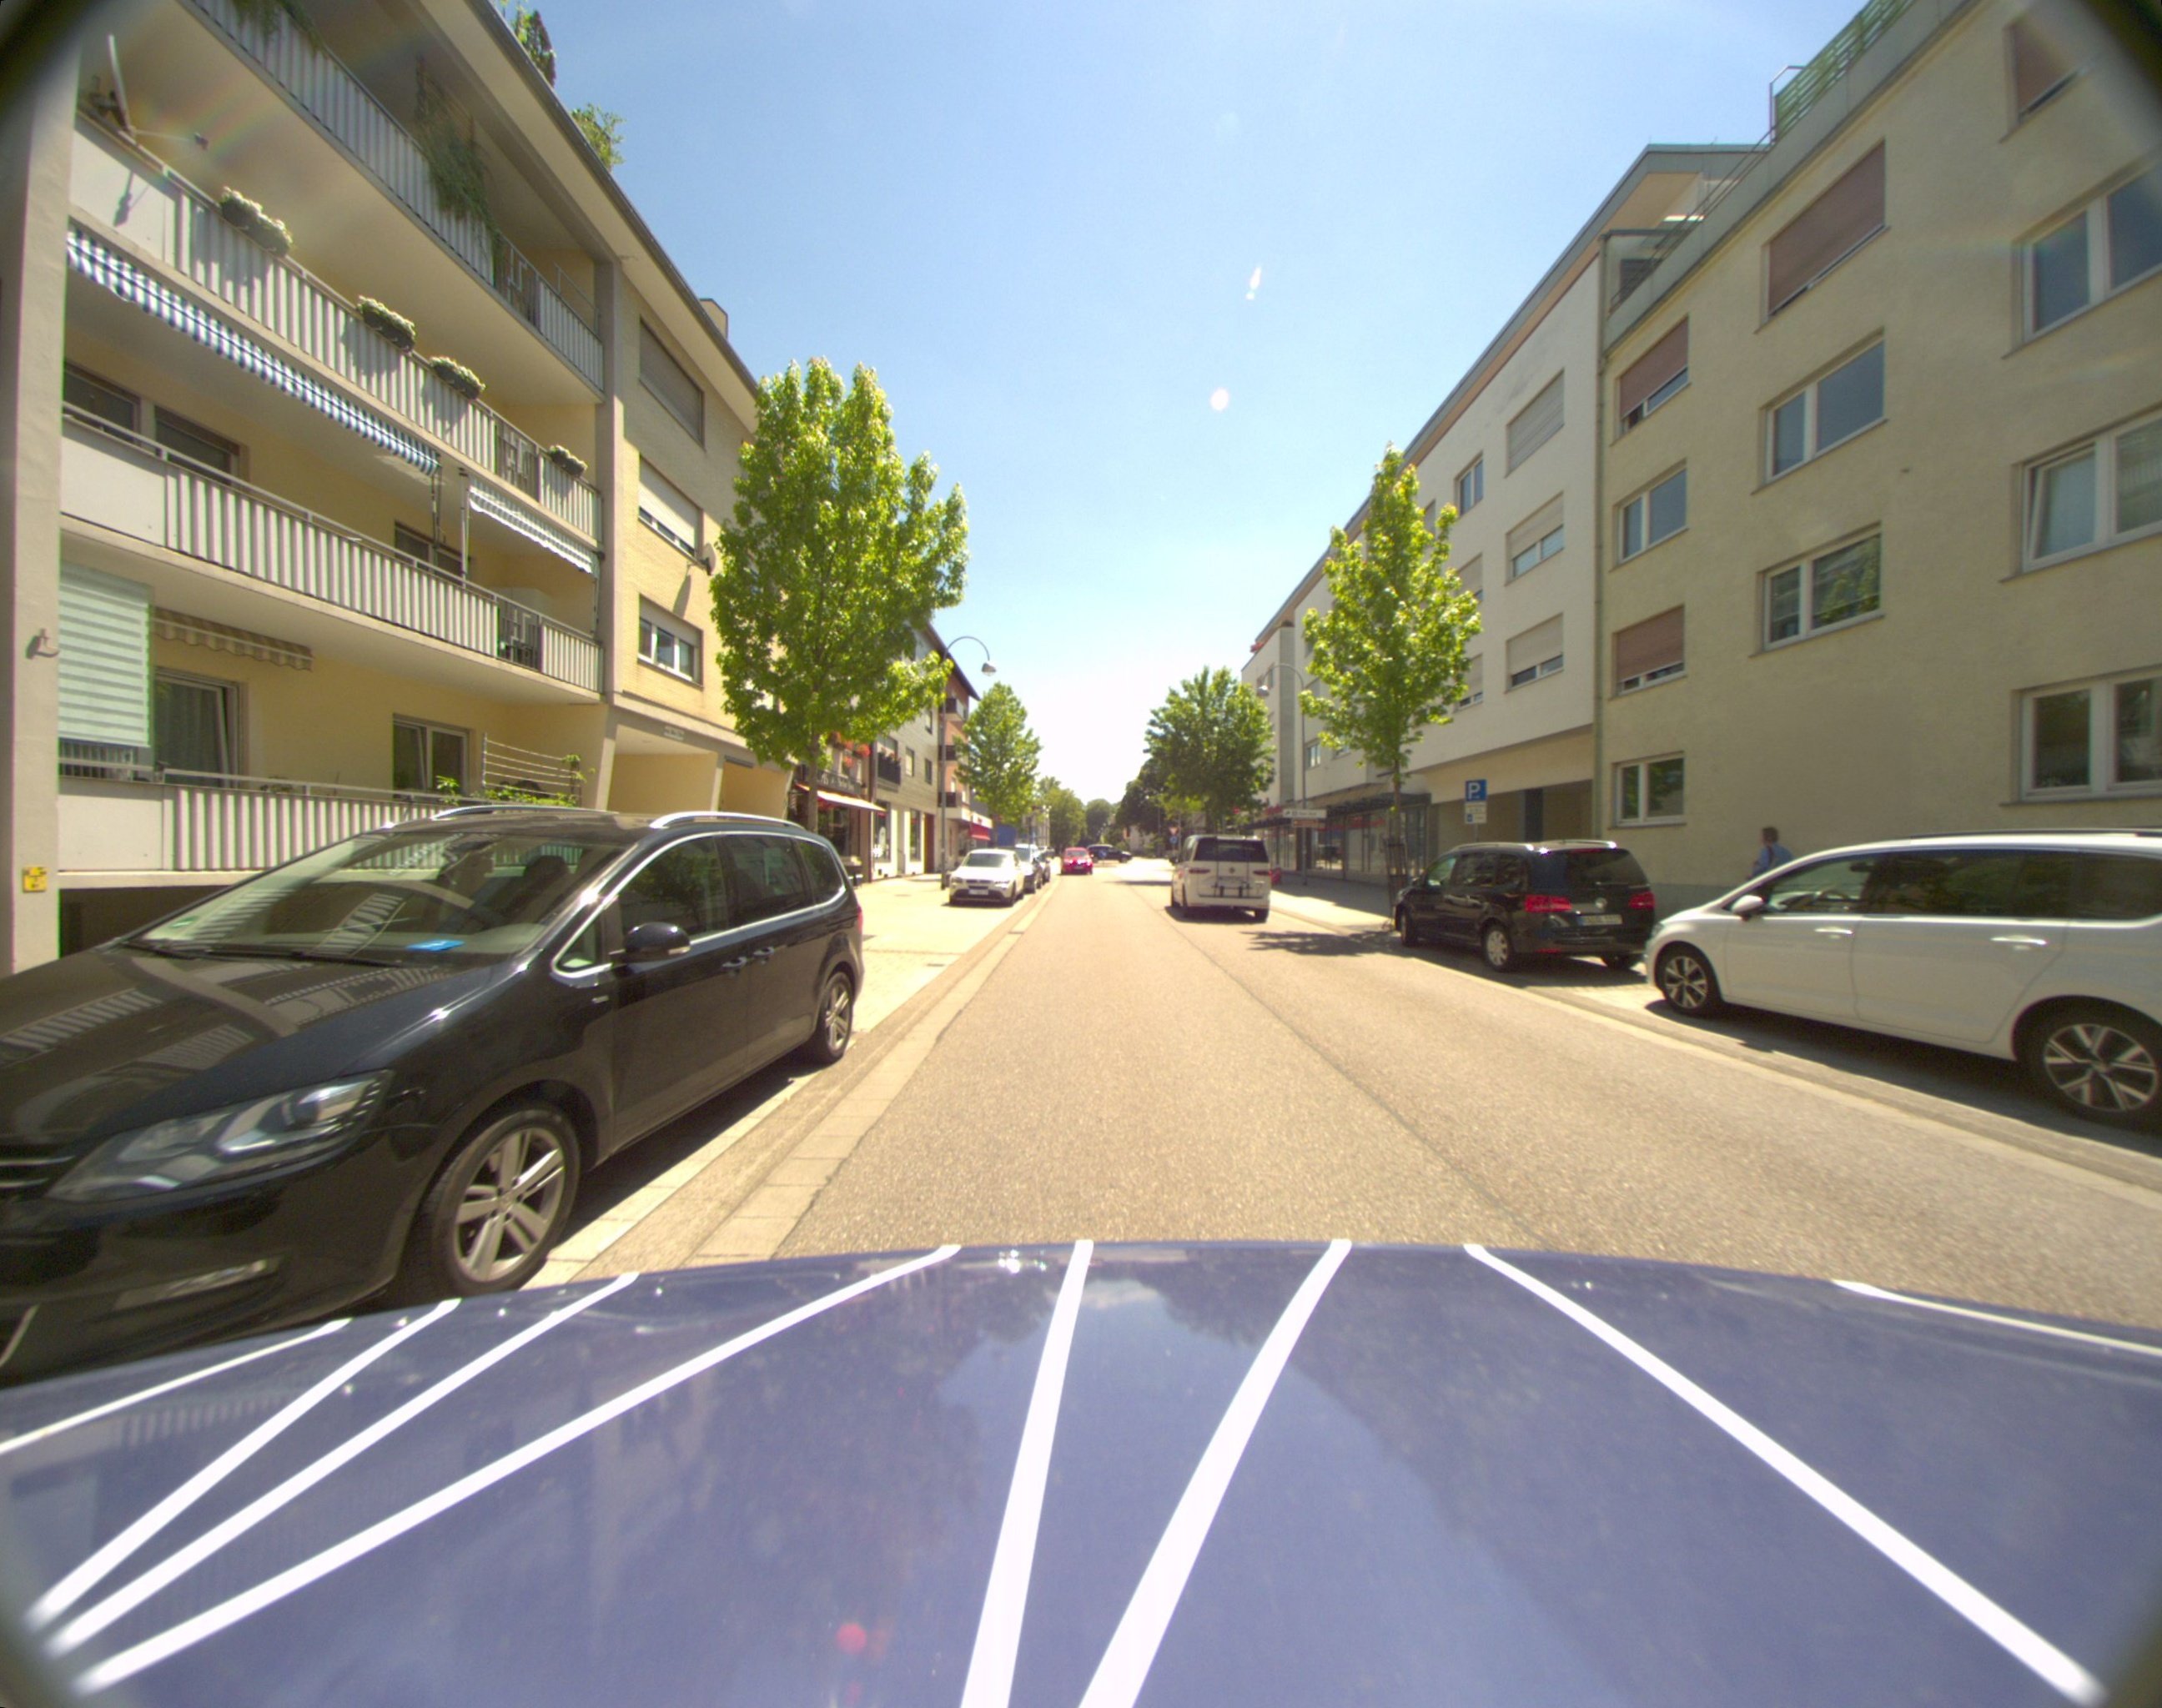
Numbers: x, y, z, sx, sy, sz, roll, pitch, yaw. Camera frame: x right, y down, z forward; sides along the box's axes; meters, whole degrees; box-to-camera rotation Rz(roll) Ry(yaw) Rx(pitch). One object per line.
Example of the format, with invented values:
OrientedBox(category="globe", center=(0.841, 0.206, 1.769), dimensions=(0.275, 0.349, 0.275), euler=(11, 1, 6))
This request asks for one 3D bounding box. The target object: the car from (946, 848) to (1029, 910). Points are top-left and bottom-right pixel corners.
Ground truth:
OrientedBox(category="car", center=(-2.608, 0.647, 22.210), dimensions=(1.726, 1.574, 4.225), euler=(1, 1, 2))

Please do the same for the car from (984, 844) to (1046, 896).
OrientedBox(category="car", center=(-2.338, 0.511, 27.976), dimensions=(1.768, 1.696, 4.705), euler=(1, 1, 1))

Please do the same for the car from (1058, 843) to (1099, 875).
OrientedBox(category="car", center=(-0.203, 0.247, 43.786), dimensions=(1.834, 1.525, 3.995), euler=(-2, 3, -7))

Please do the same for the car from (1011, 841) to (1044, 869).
OrientedBox(category="car", center=(-3.605, 0.039, 50.616), dimensions=(1.753, 1.714, 3.906), euler=(2, 1, -10))

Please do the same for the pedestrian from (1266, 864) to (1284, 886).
OrientedBox(category="pedestrian", center=(8.169, 0.870, 32.069), dimensions=(0.666, 0.854, 0.733), euler=(1, 5, 10))

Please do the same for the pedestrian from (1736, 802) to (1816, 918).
OrientedBox(category="pedestrian", center=(10.450, 0.102, 11.432), dimensions=(0.658, 1.670, 0.630), euler=(2, -1, -17))

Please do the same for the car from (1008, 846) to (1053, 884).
OrientedBox(category="car", center=(-2.116, 0.432, 32.879), dimensions=(1.626, 1.550, 3.840), euler=(1, 1, 1))

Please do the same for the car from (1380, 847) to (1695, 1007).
OrientedBox(category="car", center=(6.023, 0.816, 10.775), dimensions=(1.733, 1.730, 4.392), euler=(-3, 0, -1))

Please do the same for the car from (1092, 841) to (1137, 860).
OrientedBox(category="car", center=(3.171, -0.328, 71.873), dimensions=(3.999, 1.554, 1.803), euler=(2, -2, -6))

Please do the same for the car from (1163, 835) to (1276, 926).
OrientedBox(category="car", center=(3.232, 0.541, 18.743), dimensions=(1.911, 1.911, 4.905), euler=(1, 1, 1))

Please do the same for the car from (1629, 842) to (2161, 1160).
OrientedBox(category="car", center=(6.407, 0.741, 5.377), dimensions=(1.829, 1.610, 4.392), euler=(-1, 0, -1))

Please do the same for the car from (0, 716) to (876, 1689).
OrientedBox(category="car", center=(-2.734, 0.661, 3.724), dimensions=(1.998, 1.788, 4.570), euler=(1, -1, 2))
